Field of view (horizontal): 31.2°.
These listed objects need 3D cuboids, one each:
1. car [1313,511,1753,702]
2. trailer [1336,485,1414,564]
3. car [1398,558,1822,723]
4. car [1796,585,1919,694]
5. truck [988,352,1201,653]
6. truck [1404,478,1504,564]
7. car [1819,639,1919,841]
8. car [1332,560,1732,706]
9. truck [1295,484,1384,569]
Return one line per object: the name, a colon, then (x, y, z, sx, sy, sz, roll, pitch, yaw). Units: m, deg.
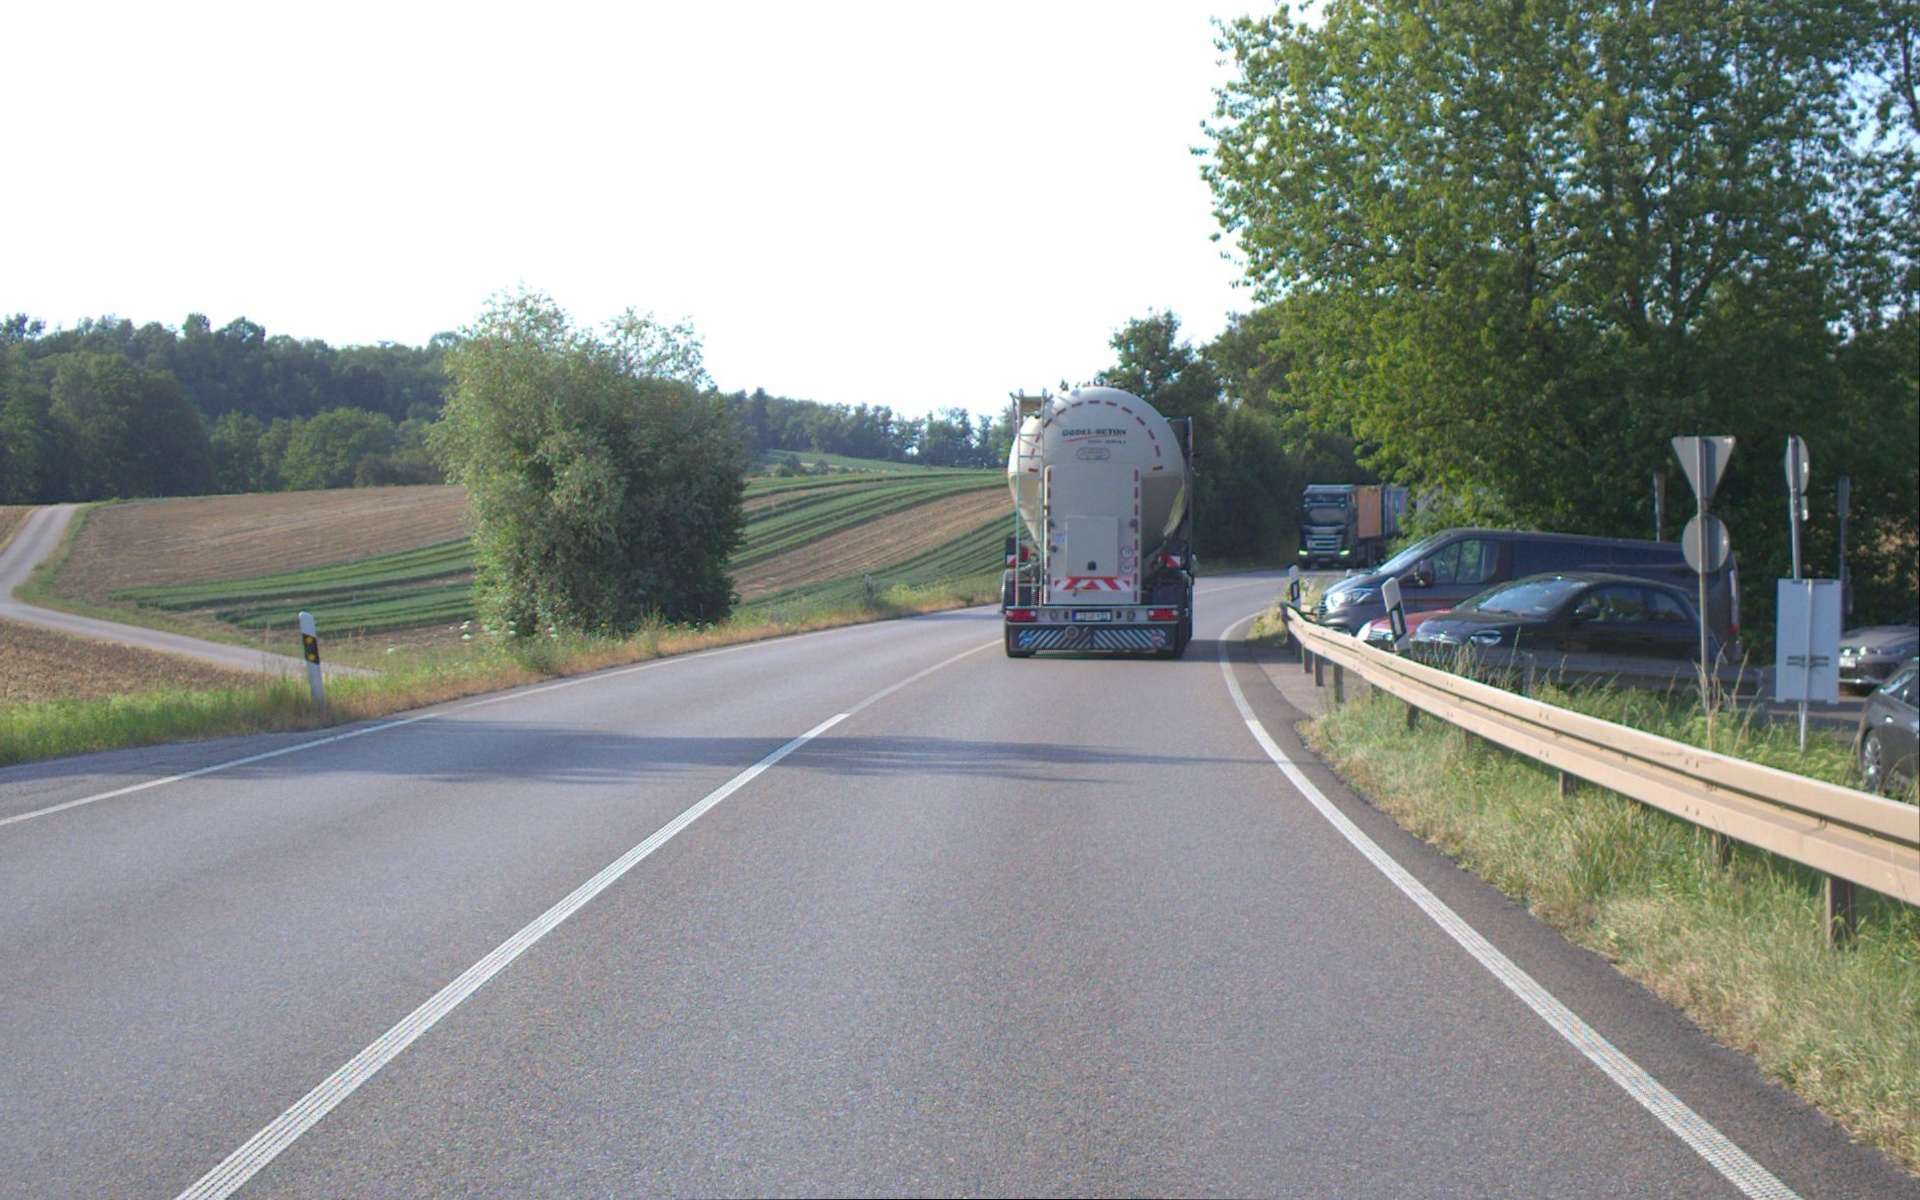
car: (7.238, 0.051, 43.821, 5.140, 1.937, 1.975, 5, 1, 1)
trailer: (21.026, -3.861, 173.941, 2.366, 3.907, 8.954, 0, 2, 17)
car: (7.044, 0.447, 37.181, 4.310, 1.504, 1.721, 3, 1, -29)
car: (13.791, 0.559, 48.071, 3.717, 1.436, 1.812, 1, 1, -24)
truck: (2.154, -1.459, 53.863, 2.893, 4.128, 13.171, 0, 1, 3)
truck: (25.194, -4.068, 174.776, 3.186, 4.213, 13.162, 0, 2, 16)
car: (9.399, 1.275, 31.100, 1.892, 1.554, 4.783, -3, 3, -1)
car: (6.683, 0.389, 40.107, 4.310, 1.395, 1.721, 3, 2, -26)
truck: (18.258, -3.568, 164.790, 2.391, 3.907, 10.152, 0, 2, 17)
